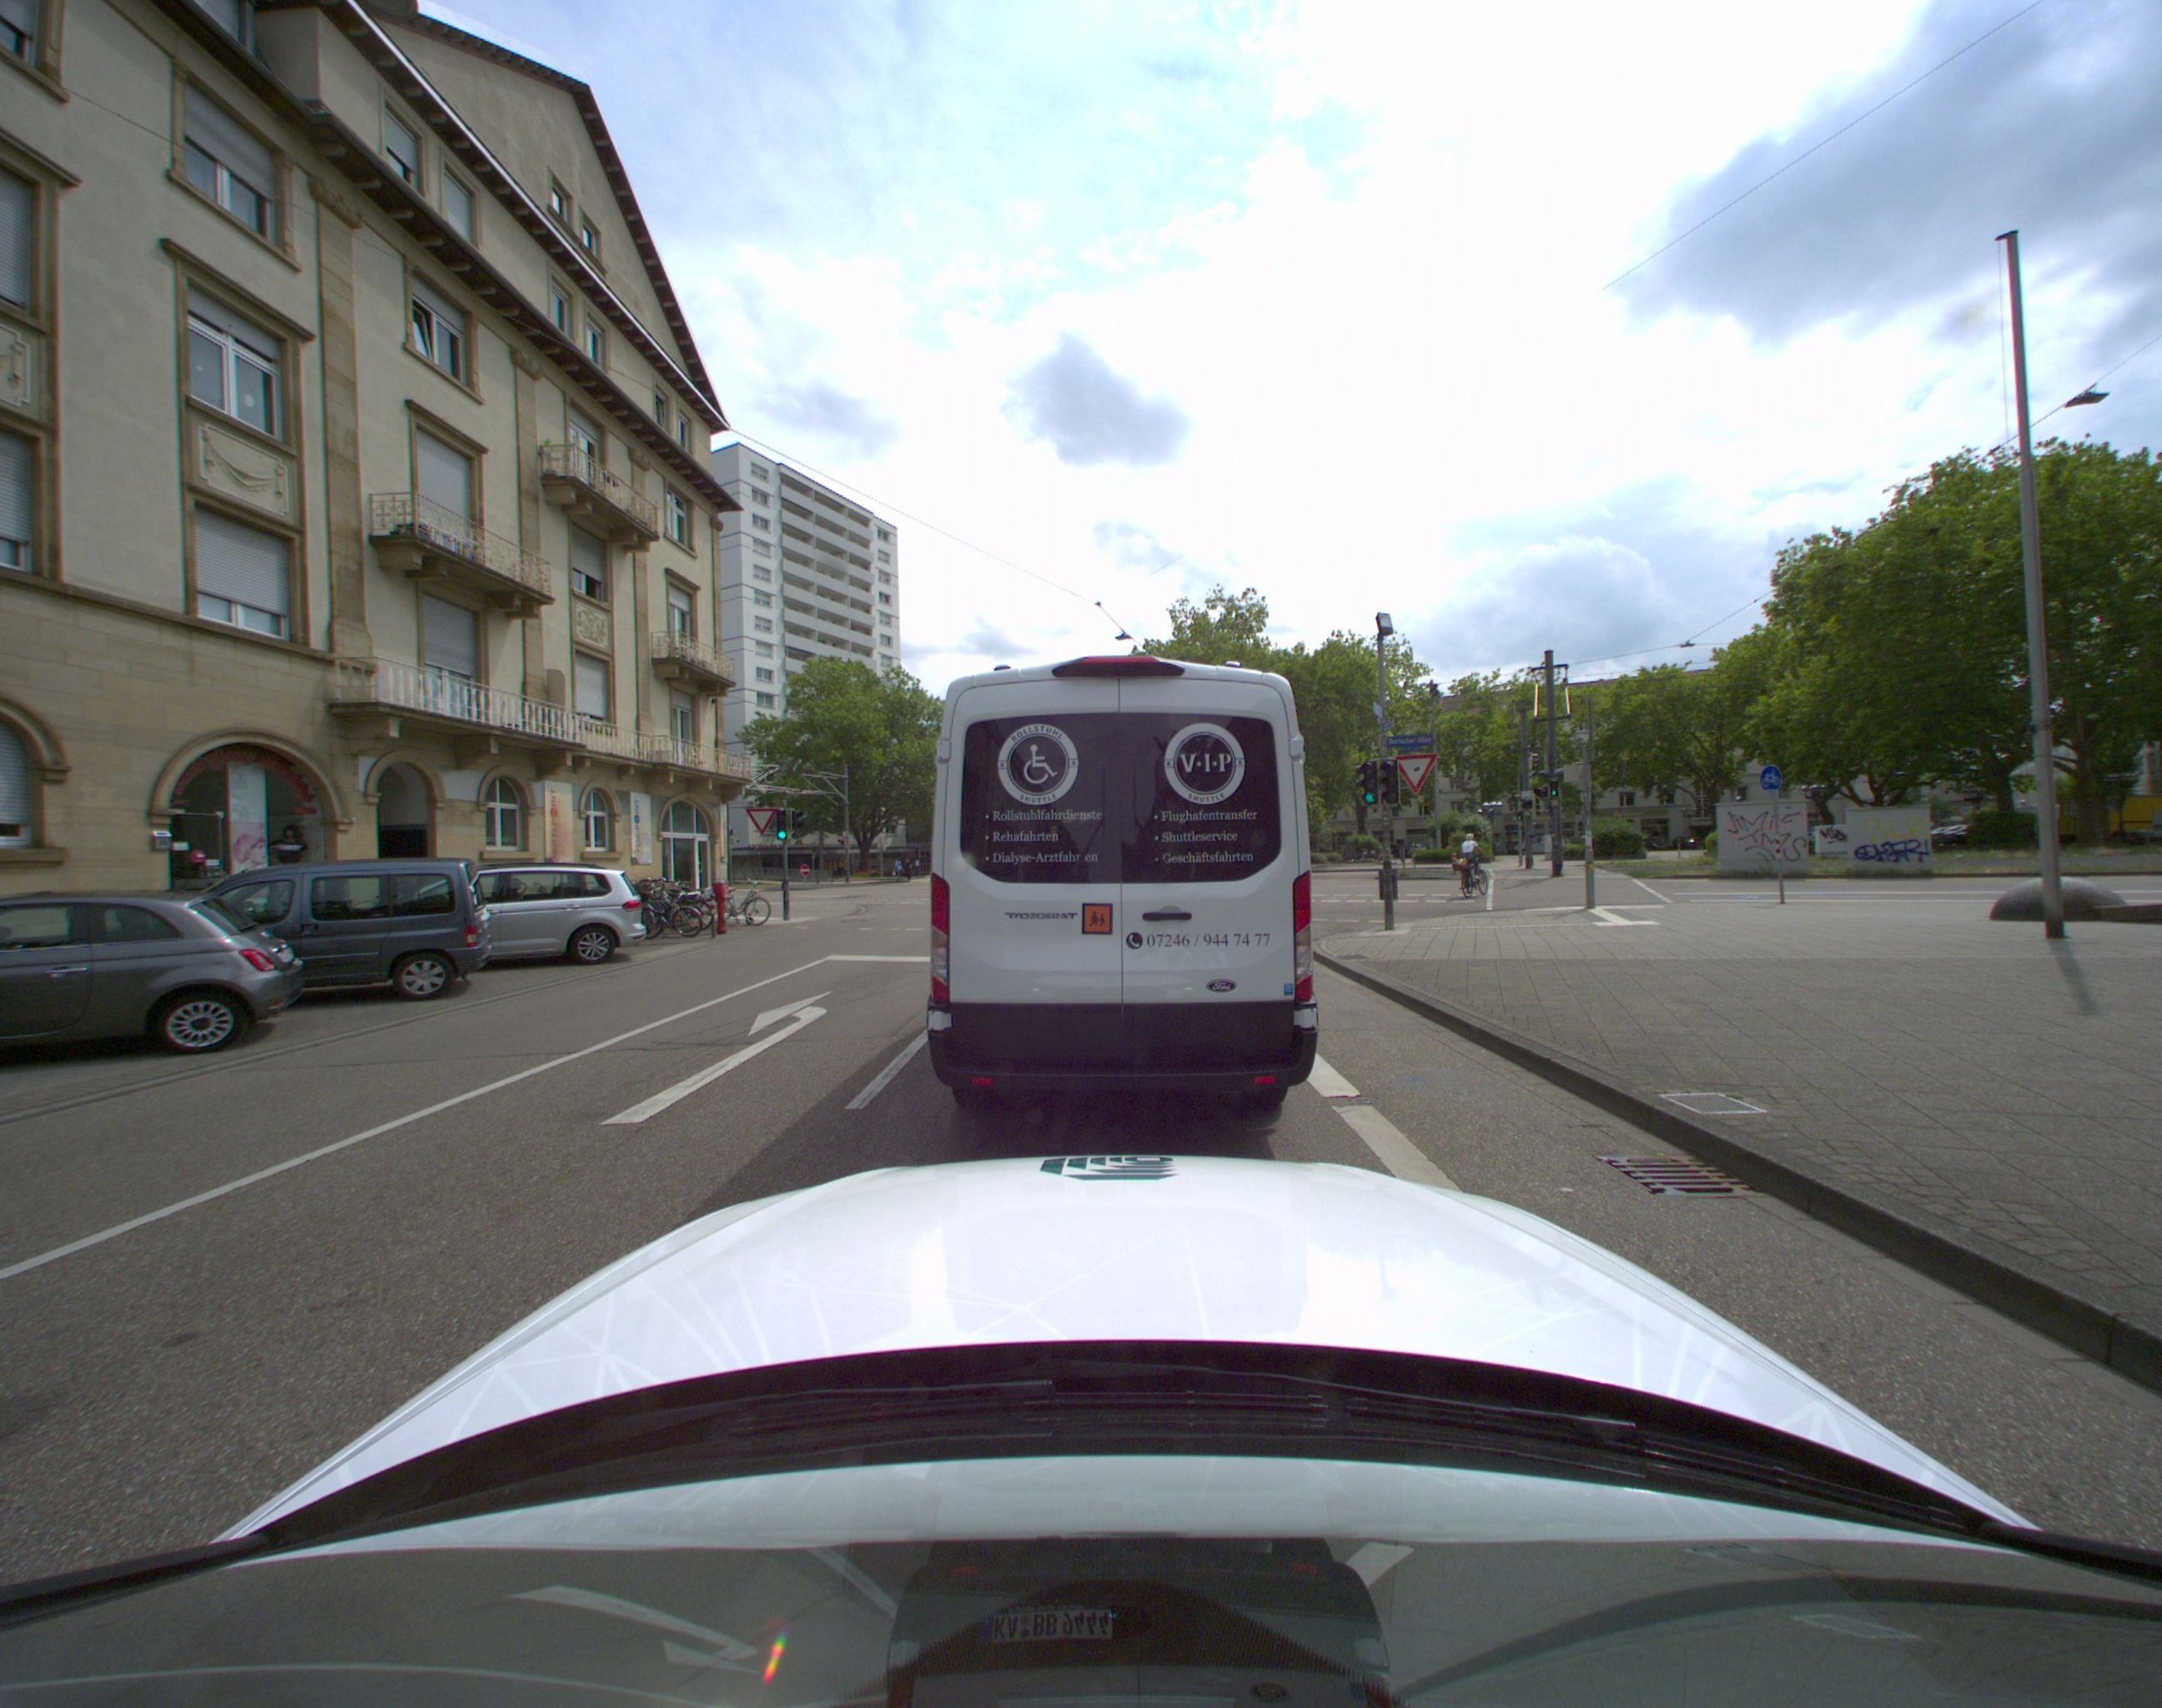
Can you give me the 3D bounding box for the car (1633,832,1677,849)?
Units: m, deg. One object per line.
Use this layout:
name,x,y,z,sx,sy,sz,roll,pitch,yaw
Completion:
car,55.425,-1.259,78.679,1.757,1.503,4.008,-2,0,7

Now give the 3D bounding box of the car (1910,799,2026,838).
car,66.666,-2.637,61.359,5.271,2.585,2.512,-2,-1,24

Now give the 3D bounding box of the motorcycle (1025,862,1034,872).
motorcycle,-5.616,1.410,88.270,0.680,0.971,2.325,-2,0,2

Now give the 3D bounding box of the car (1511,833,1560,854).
car,43.451,-1.014,78.023,3.950,1.883,1.868,-2,0,26

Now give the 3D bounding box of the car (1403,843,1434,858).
car,36.260,-0.407,87.518,1.983,1.503,4.008,-2,0,7

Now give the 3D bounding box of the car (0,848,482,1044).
car,-9.916,0.933,10.037,4.031,1.878,1.776,-2,0,-37

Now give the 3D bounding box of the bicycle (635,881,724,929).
bicycle,-9.644,1.223,19.612,1.807,1.120,0.593,0,0,-6

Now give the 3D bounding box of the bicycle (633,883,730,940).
bicycle,-8.593,1.232,17.541,1.800,1.120,0.595,2,0,5

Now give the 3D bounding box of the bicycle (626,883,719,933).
bicycle,-9.459,1.247,18.909,1.807,1.120,0.593,0,0,-6

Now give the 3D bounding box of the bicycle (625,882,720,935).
bicycle,-9.153,1.210,18.290,1.807,1.166,0.593,0,0,-6

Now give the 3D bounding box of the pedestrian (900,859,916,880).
pedestrian,-12.831,1.148,60.409,0.728,1.514,0.921,-2,0,-43

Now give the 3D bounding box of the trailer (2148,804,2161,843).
trailer,55.379,-1.552,39.238,4.381,1.925,1.865,-2,0,26

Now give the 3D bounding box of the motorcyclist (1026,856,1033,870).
motorcyclist,-5.616,0.975,88.840,0.680,1.395,0.682,-2,0,2

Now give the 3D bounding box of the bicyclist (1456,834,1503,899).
bicyclist,10.634,0.317,21.748,0.895,1.683,0.761,-2,0,43

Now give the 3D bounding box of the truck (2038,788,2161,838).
truck,58.604,-2.258,46.230,3.042,2.577,6.549,-2,0,25

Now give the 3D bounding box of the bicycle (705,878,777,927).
bicycle,-8.643,1.210,20.705,1.859,1.167,0.500,0,0,22

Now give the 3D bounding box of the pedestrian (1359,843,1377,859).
pedestrian,24.698,-0.259,70.005,1.086,1.236,1.443,-4,-1,6

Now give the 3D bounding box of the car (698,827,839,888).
car,-22.156,0.281,57.600,9.793,3.915,3.476,-2,0,26

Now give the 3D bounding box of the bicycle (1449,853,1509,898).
bicycle,10.682,0.553,21.814,0.894,1.075,1.982,-2,1,43

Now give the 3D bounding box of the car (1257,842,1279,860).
car,21.701,-0.368,94.651,1.983,1.930,4.008,-2,0,7

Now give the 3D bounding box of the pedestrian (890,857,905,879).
pedestrian,-13.372,0.997,59.352,0.799,1.572,0.728,-2,0,40

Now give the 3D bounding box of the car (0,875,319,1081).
car,-9.889,1.114,7.465,4.031,1.651,1.776,-2,0,-37

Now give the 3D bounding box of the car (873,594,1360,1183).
car,0.195,0.121,6.013,2.174,2.647,4.629,-1,1,0

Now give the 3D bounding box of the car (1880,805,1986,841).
car,68.911,-2.493,66.012,5.271,2.585,2.512,-2,-1,24

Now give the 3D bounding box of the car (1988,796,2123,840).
car,64.767,-2.362,54.275,5.271,2.585,2.192,-2,-1,24

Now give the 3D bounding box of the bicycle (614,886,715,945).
bicycle,-8.618,1.269,16.867,1.799,1.120,0.595,-2,0,8

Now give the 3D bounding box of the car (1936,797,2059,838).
car,65.722,-2.573,58.543,5.271,2.585,2.512,-2,-1,24

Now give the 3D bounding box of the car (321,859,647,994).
car,-9.530,1.035,13.320,4.031,1.773,1.776,-2,0,-37
